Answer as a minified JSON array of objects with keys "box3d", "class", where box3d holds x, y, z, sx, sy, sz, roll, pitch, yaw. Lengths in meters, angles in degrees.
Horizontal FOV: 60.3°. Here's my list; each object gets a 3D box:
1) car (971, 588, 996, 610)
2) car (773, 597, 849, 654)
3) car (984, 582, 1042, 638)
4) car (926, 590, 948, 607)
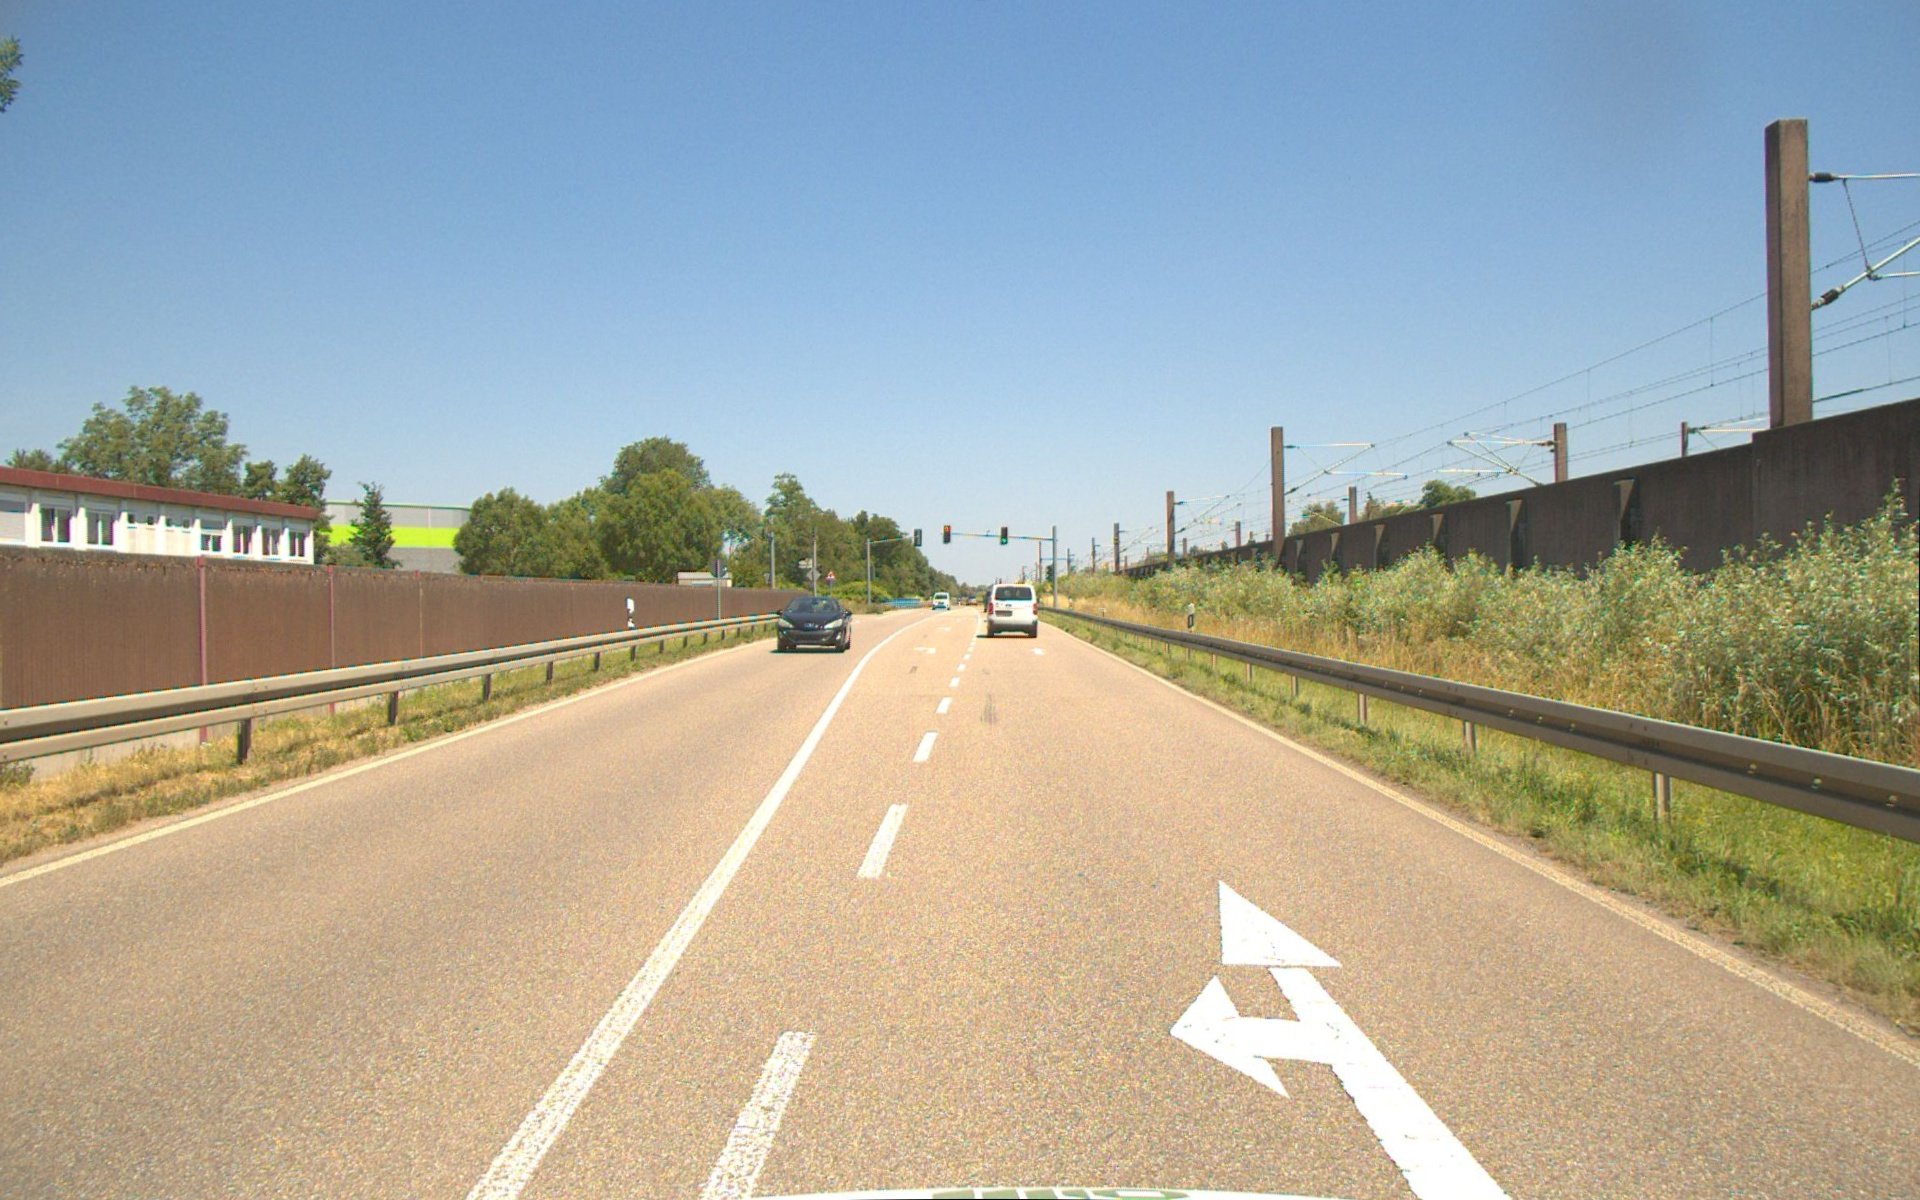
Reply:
[{"box3d":[2.145,-0.085,150.838,2.111,2.002,4.542,0,0,-1],"class":"car"},{"box3d":[-3.898,0.642,43.847,1.808,1.414,4.188,1,0,-2],"class":"car"},{"box3d":[1.940,0.353,61.588,1.953,2.018,4.059,1,0,-1],"class":"car"},{"box3d":[-2.451,-0.168,176.851,1.851,1.770,4.769,0,0,-7],"class":"car"}]
